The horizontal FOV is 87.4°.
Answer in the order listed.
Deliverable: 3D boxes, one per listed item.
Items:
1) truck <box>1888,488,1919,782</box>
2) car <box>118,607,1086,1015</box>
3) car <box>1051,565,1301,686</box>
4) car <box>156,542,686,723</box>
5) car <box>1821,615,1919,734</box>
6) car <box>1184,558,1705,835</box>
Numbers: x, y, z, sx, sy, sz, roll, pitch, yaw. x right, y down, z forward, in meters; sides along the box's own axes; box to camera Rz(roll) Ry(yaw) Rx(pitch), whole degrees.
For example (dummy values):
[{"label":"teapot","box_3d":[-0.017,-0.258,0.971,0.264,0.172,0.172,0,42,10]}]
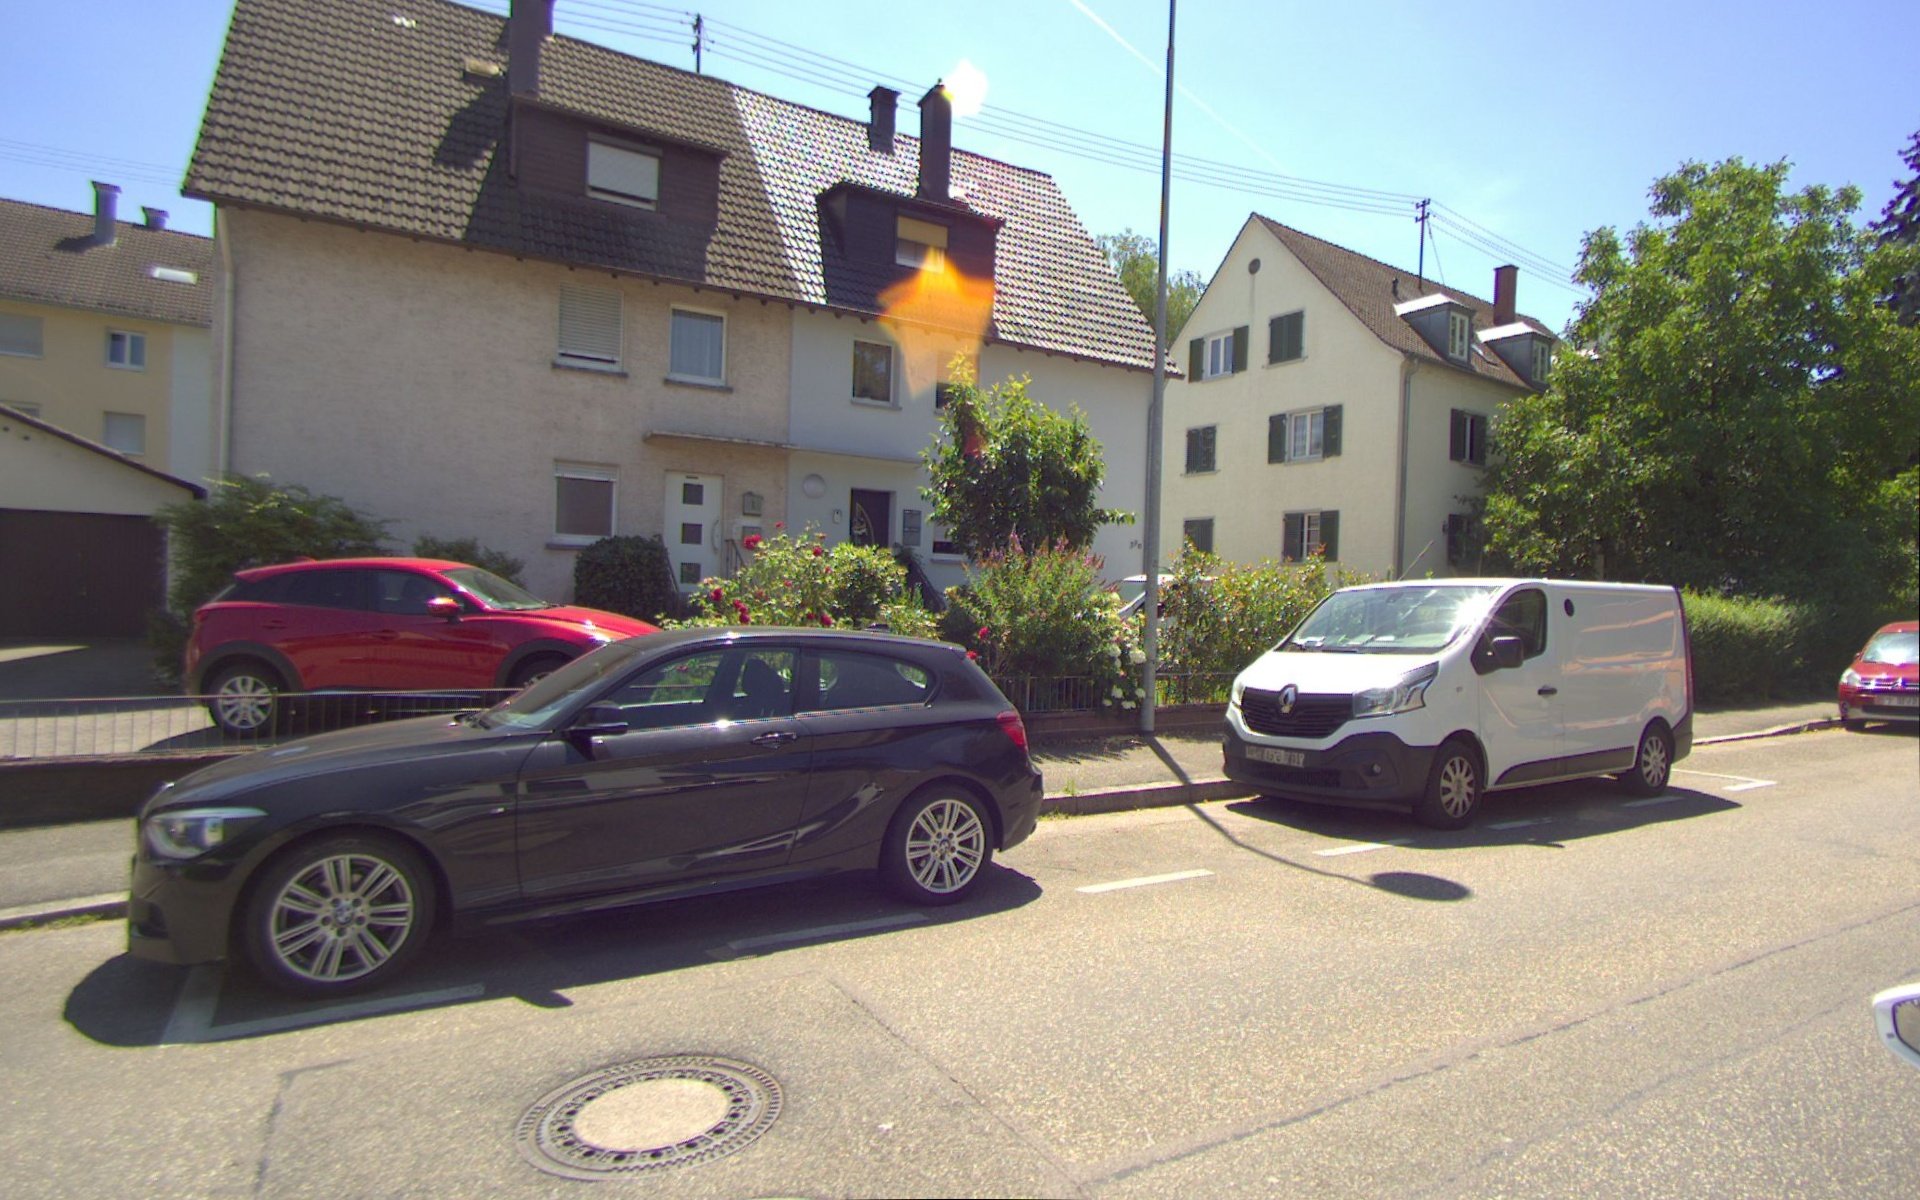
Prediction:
[{"label":"truck","box_3d":[12.242,0.410,10.525,5.597,2.867,2.360,2,-1,-33]},{"label":"car","box_3d":[-1.512,0.800,5.281,4.186,1.402,1.691,2,-2,-31]},{"label":"car","box_3d":[3.755,0.452,17.484,3.944,1.895,1.710,2,1,-24]},{"label":"car","box_3d":[-4.826,0.220,9.500,4.033,1.532,1.646,0,3,-4]},{"label":"car","box_3d":[15.794,1.147,16.209,4.411,1.750,1.747,2,-2,-33]},{"label":"car","box_3d":[4.495,0.759,9.039,4.925,1.906,1.876,2,-1,-32]}]
